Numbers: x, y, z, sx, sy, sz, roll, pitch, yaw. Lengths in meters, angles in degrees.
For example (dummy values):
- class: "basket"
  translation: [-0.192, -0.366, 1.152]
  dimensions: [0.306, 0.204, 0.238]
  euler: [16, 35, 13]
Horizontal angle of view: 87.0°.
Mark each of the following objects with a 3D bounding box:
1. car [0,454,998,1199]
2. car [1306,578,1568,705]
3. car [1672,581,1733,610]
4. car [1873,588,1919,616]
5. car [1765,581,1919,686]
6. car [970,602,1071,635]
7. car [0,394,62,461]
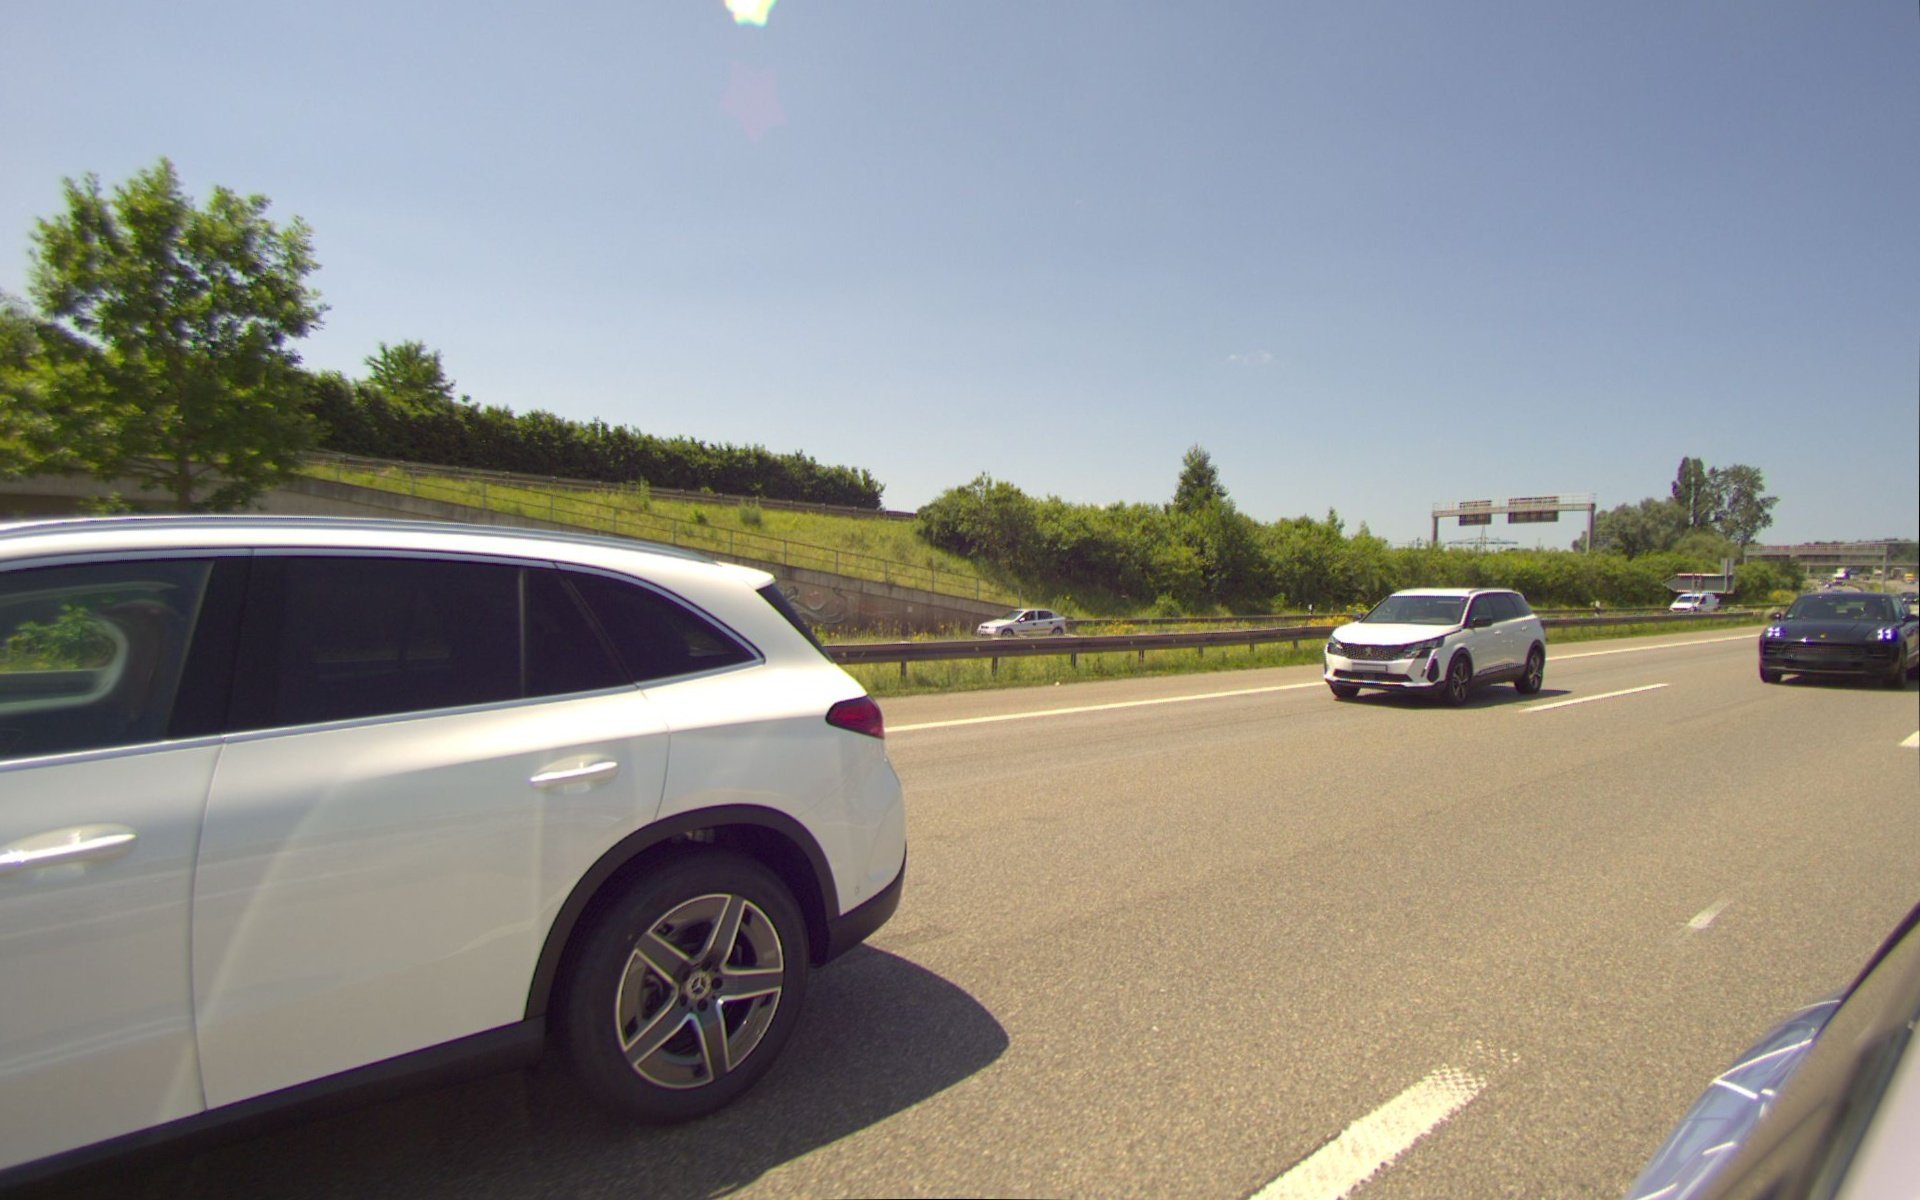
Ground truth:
- class: "car"
  translation: [-2.214, 0.567, 2.655]
  dimensions: [4.555, 1.676, 1.908]
  euler: [-1, 1, -40]
- class: "car"
  translation: [7.289, 0.509, 15.269]
  dimensions: [4.536, 1.650, 1.897]
  euler: [-1, 1, -40]
- class: "car"
  translation: [54.476, -0.343, 74.219]
  dimensions: [4.669, 2.039, 2.002]
  euler: [0, 1, -31]
- class: "car"
  translation: [51.946, 0.083, 56.145]
  dimensions: [1.748, 1.489, 3.936]
  euler: [0, 1, 44]
- class: "car"
  translation: [16.226, 0.503, 18.248]
  dimensions: [4.538, 1.650, 1.980]
  euler: [-1, 1, -42]
- class: "car"
  translation: [2.623, 0.773, 43.914]
  dimensions: [3.995, 1.296, 1.902]
  euler: [0, 0, -28]
- class: "car"
  translation: [-31.937, -5.655, 32.607]
  dimensions: [4.451, 1.830, 1.995]
  euler: [-1, 0, -43]
